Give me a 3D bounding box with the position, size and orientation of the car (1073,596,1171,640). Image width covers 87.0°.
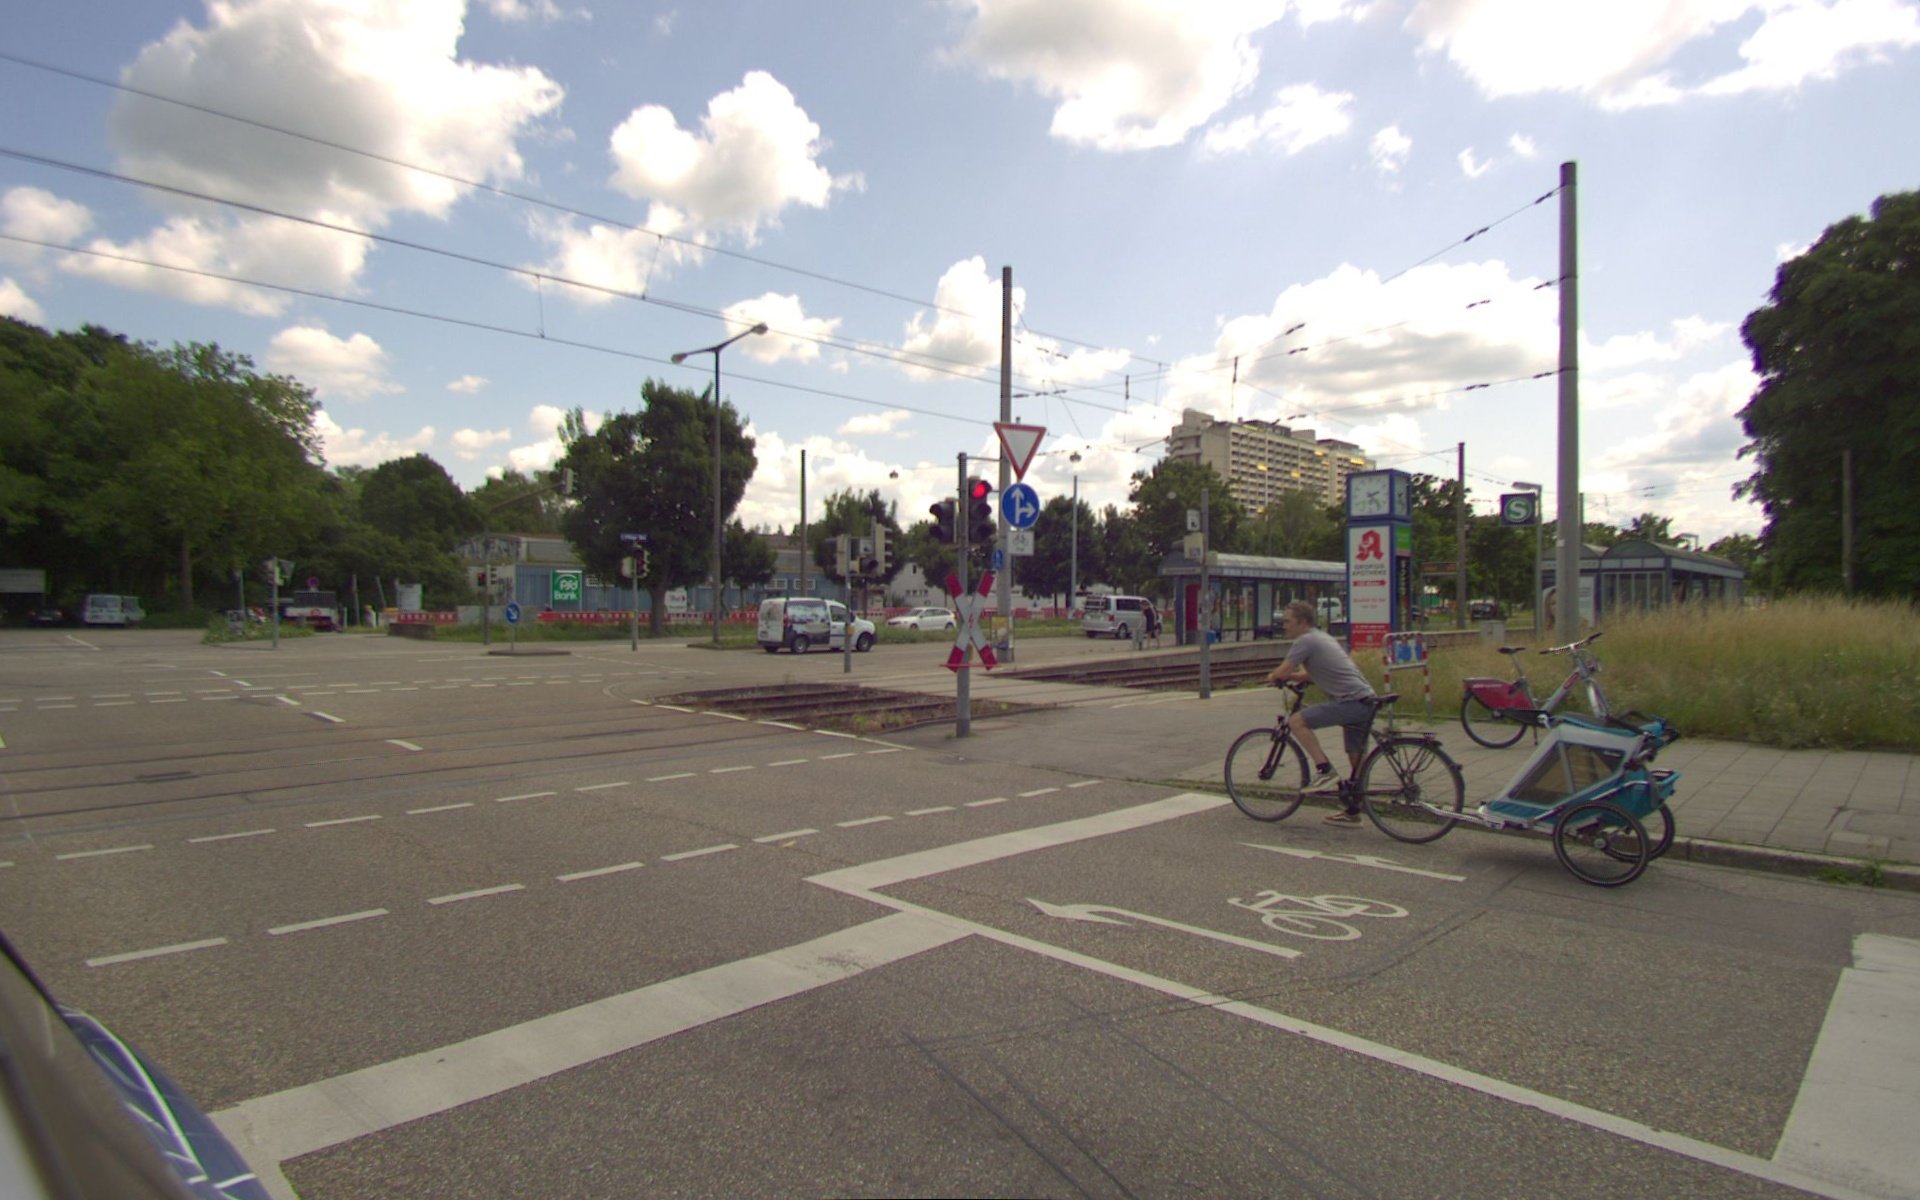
[{"bbox_3d":[7.609,0.810,47.175,5.154,1.933,1.820,1,-1,-44],"label":"car"}]

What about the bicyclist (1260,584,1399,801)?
[{"bbox_3d":[2.694,0.641,7.407,0.448,1.486,0.842,1,-1,-42],"label":"bicyclist"}]

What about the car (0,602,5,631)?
[{"bbox_3d":[-55.160,0.925,57.281,1.595,1.519,3.623,1,0,-44],"label":"car"}]

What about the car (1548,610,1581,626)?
[{"bbox_3d":[58.244,1.713,97.484,1.792,1.537,4.239,1,0,44],"label":"car"}]

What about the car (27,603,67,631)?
[{"bbox_3d":[-53.351,1.003,59.133,1.595,1.519,3.623,1,0,-44],"label":"car"}]

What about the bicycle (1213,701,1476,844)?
[{"bbox_3d":[2.727,1.192,7.335,0.547,0.771,1.730,1,-1,-42],"label":"bicycle"}]

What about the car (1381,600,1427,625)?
[{"bbox_3d":[31.953,0.886,72.760,1.791,1.680,4.279,1,0,42],"label":"car"}]

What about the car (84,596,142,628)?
[{"bbox_3d":[-50.781,0.695,60.746,1.904,1.806,3.631,1,0,-27],"label":"car"}]

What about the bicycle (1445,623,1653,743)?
[{"bbox_3d":[5.965,0.834,10.336,1.643,1.141,0.699,-2,-1,11],"label":"bicycle"}]

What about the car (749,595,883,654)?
[{"bbox_3d":[-4.696,0.779,33.370,4.094,1.798,1.750,1,0,-44],"label":"car"}]

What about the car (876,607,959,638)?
[{"bbox_3d":[-2.195,1.158,53.078,2.001,1.515,4.112,1,0,45],"label":"car"}]

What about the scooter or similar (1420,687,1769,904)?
[{"bbox_3d":[3.772,1.079,6.091,0.948,0.987,1.581,1,-1,-42],"label":"scooter or similar"}]

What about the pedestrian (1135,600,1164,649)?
[{"bbox_3d":[5.988,0.752,31.948,0.654,1.525,0.709,-1,-1,36],"label":"pedestrian"}]
